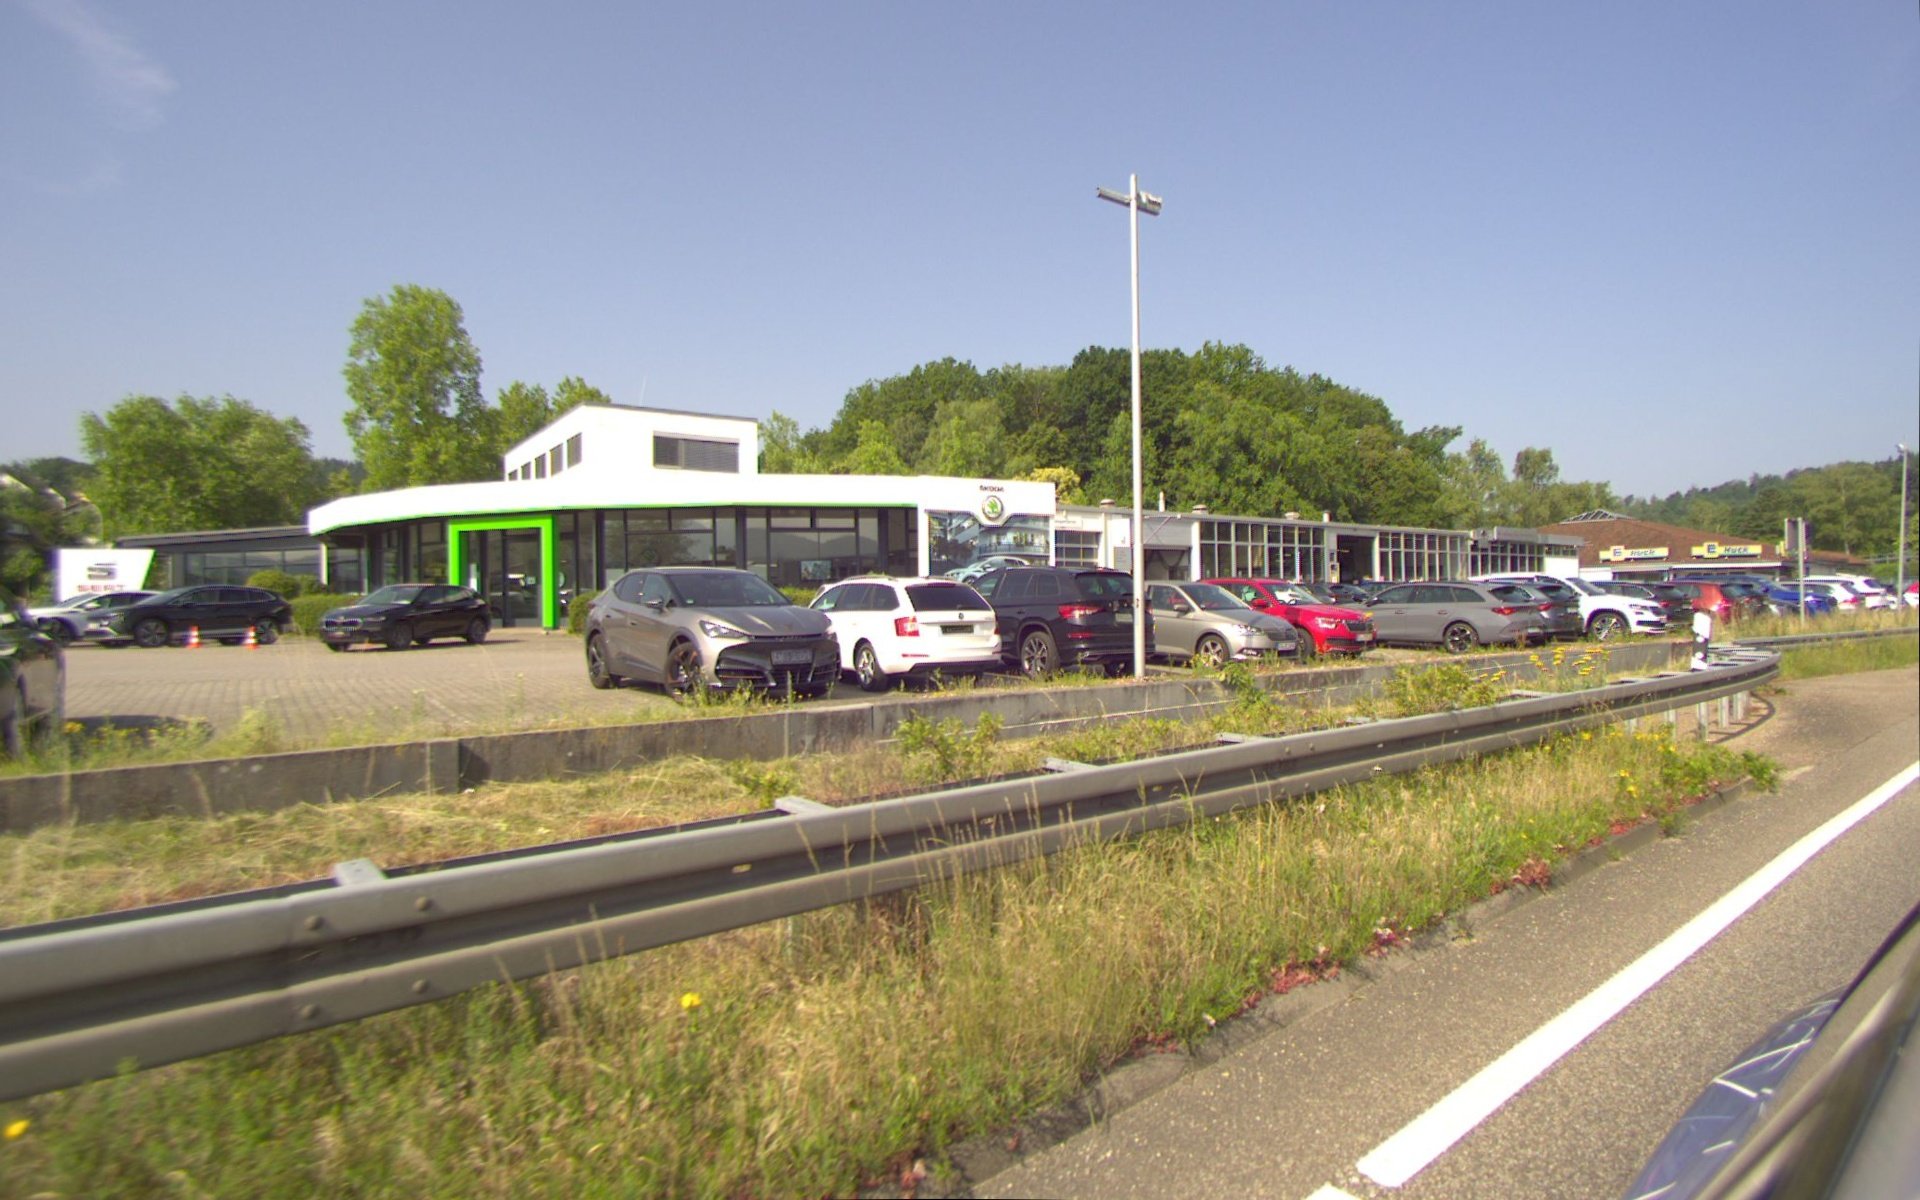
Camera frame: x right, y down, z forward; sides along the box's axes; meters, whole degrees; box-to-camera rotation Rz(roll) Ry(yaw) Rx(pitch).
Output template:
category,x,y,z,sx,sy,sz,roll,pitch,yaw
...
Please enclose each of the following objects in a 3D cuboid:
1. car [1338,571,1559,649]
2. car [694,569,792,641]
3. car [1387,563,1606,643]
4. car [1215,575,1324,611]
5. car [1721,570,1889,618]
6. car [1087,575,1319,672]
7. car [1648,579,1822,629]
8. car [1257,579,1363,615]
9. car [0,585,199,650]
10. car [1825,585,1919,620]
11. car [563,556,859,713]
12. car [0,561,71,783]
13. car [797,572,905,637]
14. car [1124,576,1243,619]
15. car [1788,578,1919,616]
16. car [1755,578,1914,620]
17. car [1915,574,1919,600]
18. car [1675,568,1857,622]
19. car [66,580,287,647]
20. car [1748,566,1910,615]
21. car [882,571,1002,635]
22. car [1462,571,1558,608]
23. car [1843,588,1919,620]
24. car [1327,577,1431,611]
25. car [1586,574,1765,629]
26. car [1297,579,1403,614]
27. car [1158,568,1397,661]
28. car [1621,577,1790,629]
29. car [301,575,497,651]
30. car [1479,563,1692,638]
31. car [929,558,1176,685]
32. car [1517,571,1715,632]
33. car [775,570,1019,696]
category,x,y,z,sx,sy,sz,roll,pitch,yaw
car,10.151,0.159,21.256,1.713,1.477,3.848,0,1,-37
car,-5.176,0.062,24.631,1.755,1.584,4.361,0,1,-4
car,12.117,0.040,23.078,1.885,1.652,4.000,0,1,-35
car,13.467,-0.342,44.271,1.758,1.482,4.321,0,2,-38
car,28.739,-0.246,34.543,1.771,1.526,4.054,0,1,-34
car,4.071,0.319,17.446,1.633,1.477,3.743,0,1,-36
car,24.280,0.081,31.810,1.915,1.470,3.998,0,1,-37
car,15.682,-0.173,45.523,1.757,1.482,4.324,0,2,-35
car,-23.848,0.409,27.856,1.775,1.584,4.311,1,1,30
car,43.256,0.116,47.308,1.771,1.572,4.000,0,0,-35
car,-3.285,0.298,12.700,1.822,1.620,4.456,0,1,-40
car,-8.346,0.474,8.008,1.698,1.513,3.997,0,1,-37
car,-2.922,0.037,26.127,1.753,1.507,4.732,0,1,-19
car,8.739,-0.151,39.749,4.312,1.584,1.762,2,2,45
car,40.252,-0.165,45.551,1.996,1.571,4.294,0,2,-38
car,34.014,-0.081,39.479,1.844,1.513,4.365,0,2,-34
car,56.746,-0.723,57.313,1.771,1.482,3.550,0,2,-35
car,26.628,-0.184,33.568,1.914,1.660,4.370,0,1,-35
car,-20.403,0.270,26.587,1.770,1.584,4.324,1,1,22
car,31.107,-0.377,36.338,1.843,1.637,4.061,0,1,-34
car,-0.602,0.013,27.882,1.753,1.584,4.731,0,1,-22
car,30.274,-0.602,55.790,1.757,1.948,4.323,0,1,-36
car,45.622,0.180,48.981,1.841,1.482,4.001,0,2,-35
car,20.146,-0.327,48.774,1.758,1.544,4.322,0,2,-38
car,19.871,0.017,28.227,1.789,1.424,3.741,0,1,-37
car,18.100,-0.197,47.144,1.758,1.482,4.322,0,2,-38
car,5.874,0.195,19.180,1.748,1.571,4.096,0,1,-36
car,22.137,0.044,30.168,1.746,1.446,3.744,0,1,-37
car,-12.869,0.229,23.575,1.760,1.584,4.347,1,1,8
car,15.102,-0.018,24.621,1.883,1.652,4.003,0,1,-32
car,1.282,0.235,15.610,1.804,1.684,3.894,0,1,-32
car,17.202,0.003,26.707,1.915,1.470,3.998,0,1,-37
car,-1.036,0.346,14.233,1.689,1.504,4.052,0,1,-32
